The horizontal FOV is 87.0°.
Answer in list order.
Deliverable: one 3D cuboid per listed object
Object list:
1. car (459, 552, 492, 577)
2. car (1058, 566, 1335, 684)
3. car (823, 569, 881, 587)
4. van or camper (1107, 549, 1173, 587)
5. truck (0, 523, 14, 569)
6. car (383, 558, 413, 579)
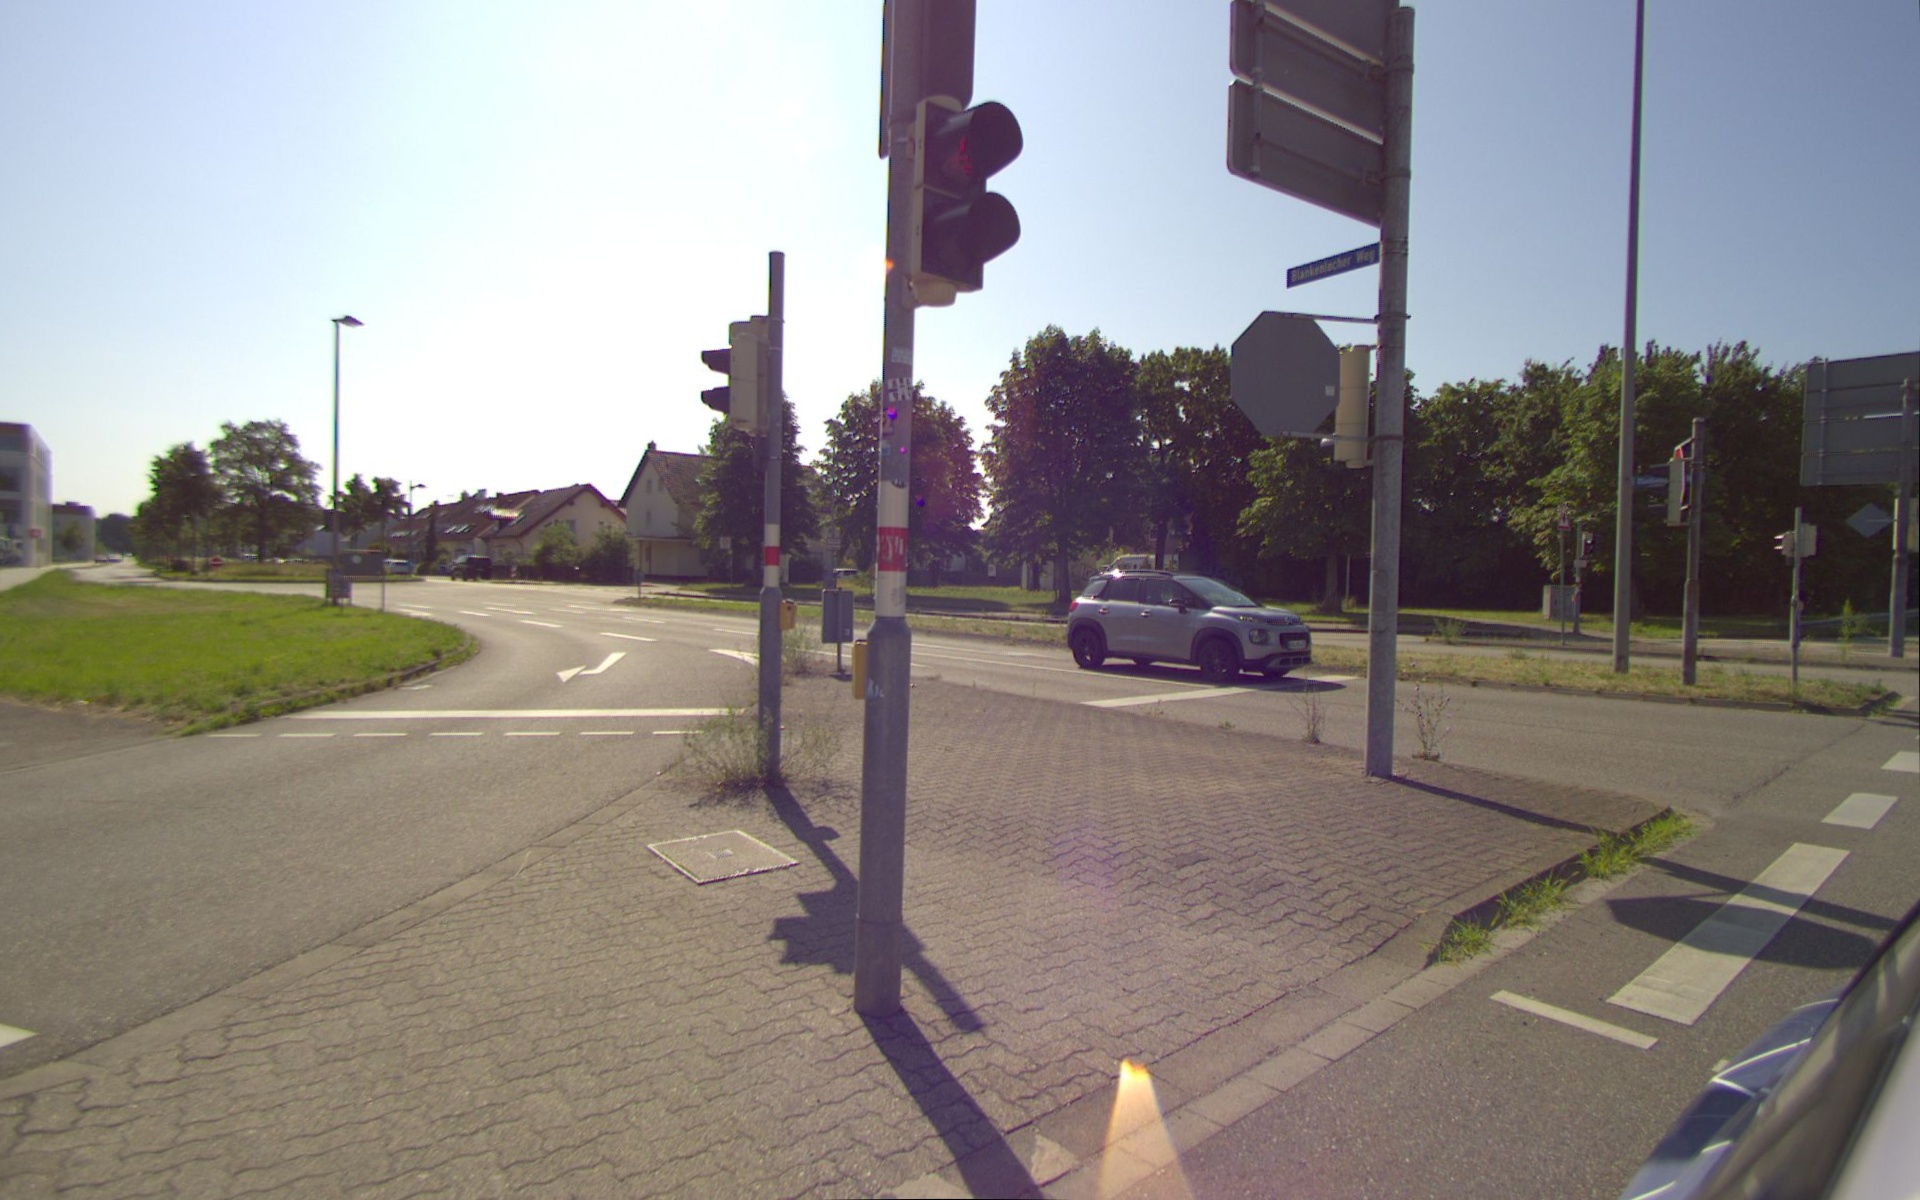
[{"bbox_3d":[-36.331,-2.650,75.884,1.960,1.812,4.006,0,2,-29],"label":"car"},{"bbox_3d":[3.618,0.287,16.084,1.712,1.583,4.060,0,2,-41],"label":"car"},{"bbox_3d":[-7.856,-1.598,73.767,3.929,1.304,1.731,-1,2,-40],"label":"car"},{"bbox_3d":[13.995,-2.533,78.741,1.966,2.866,4.806,0,2,-43],"label":"van or camper"},{"bbox_3d":[-79.429,-4.284,78.759,8.093,3.589,2.635,0,2,-33],"label":"truck"},{"bbox_3d":[-53.572,-3.006,96.403,1.963,1.950,3.998,-1,1,-37],"label":"car"}]
